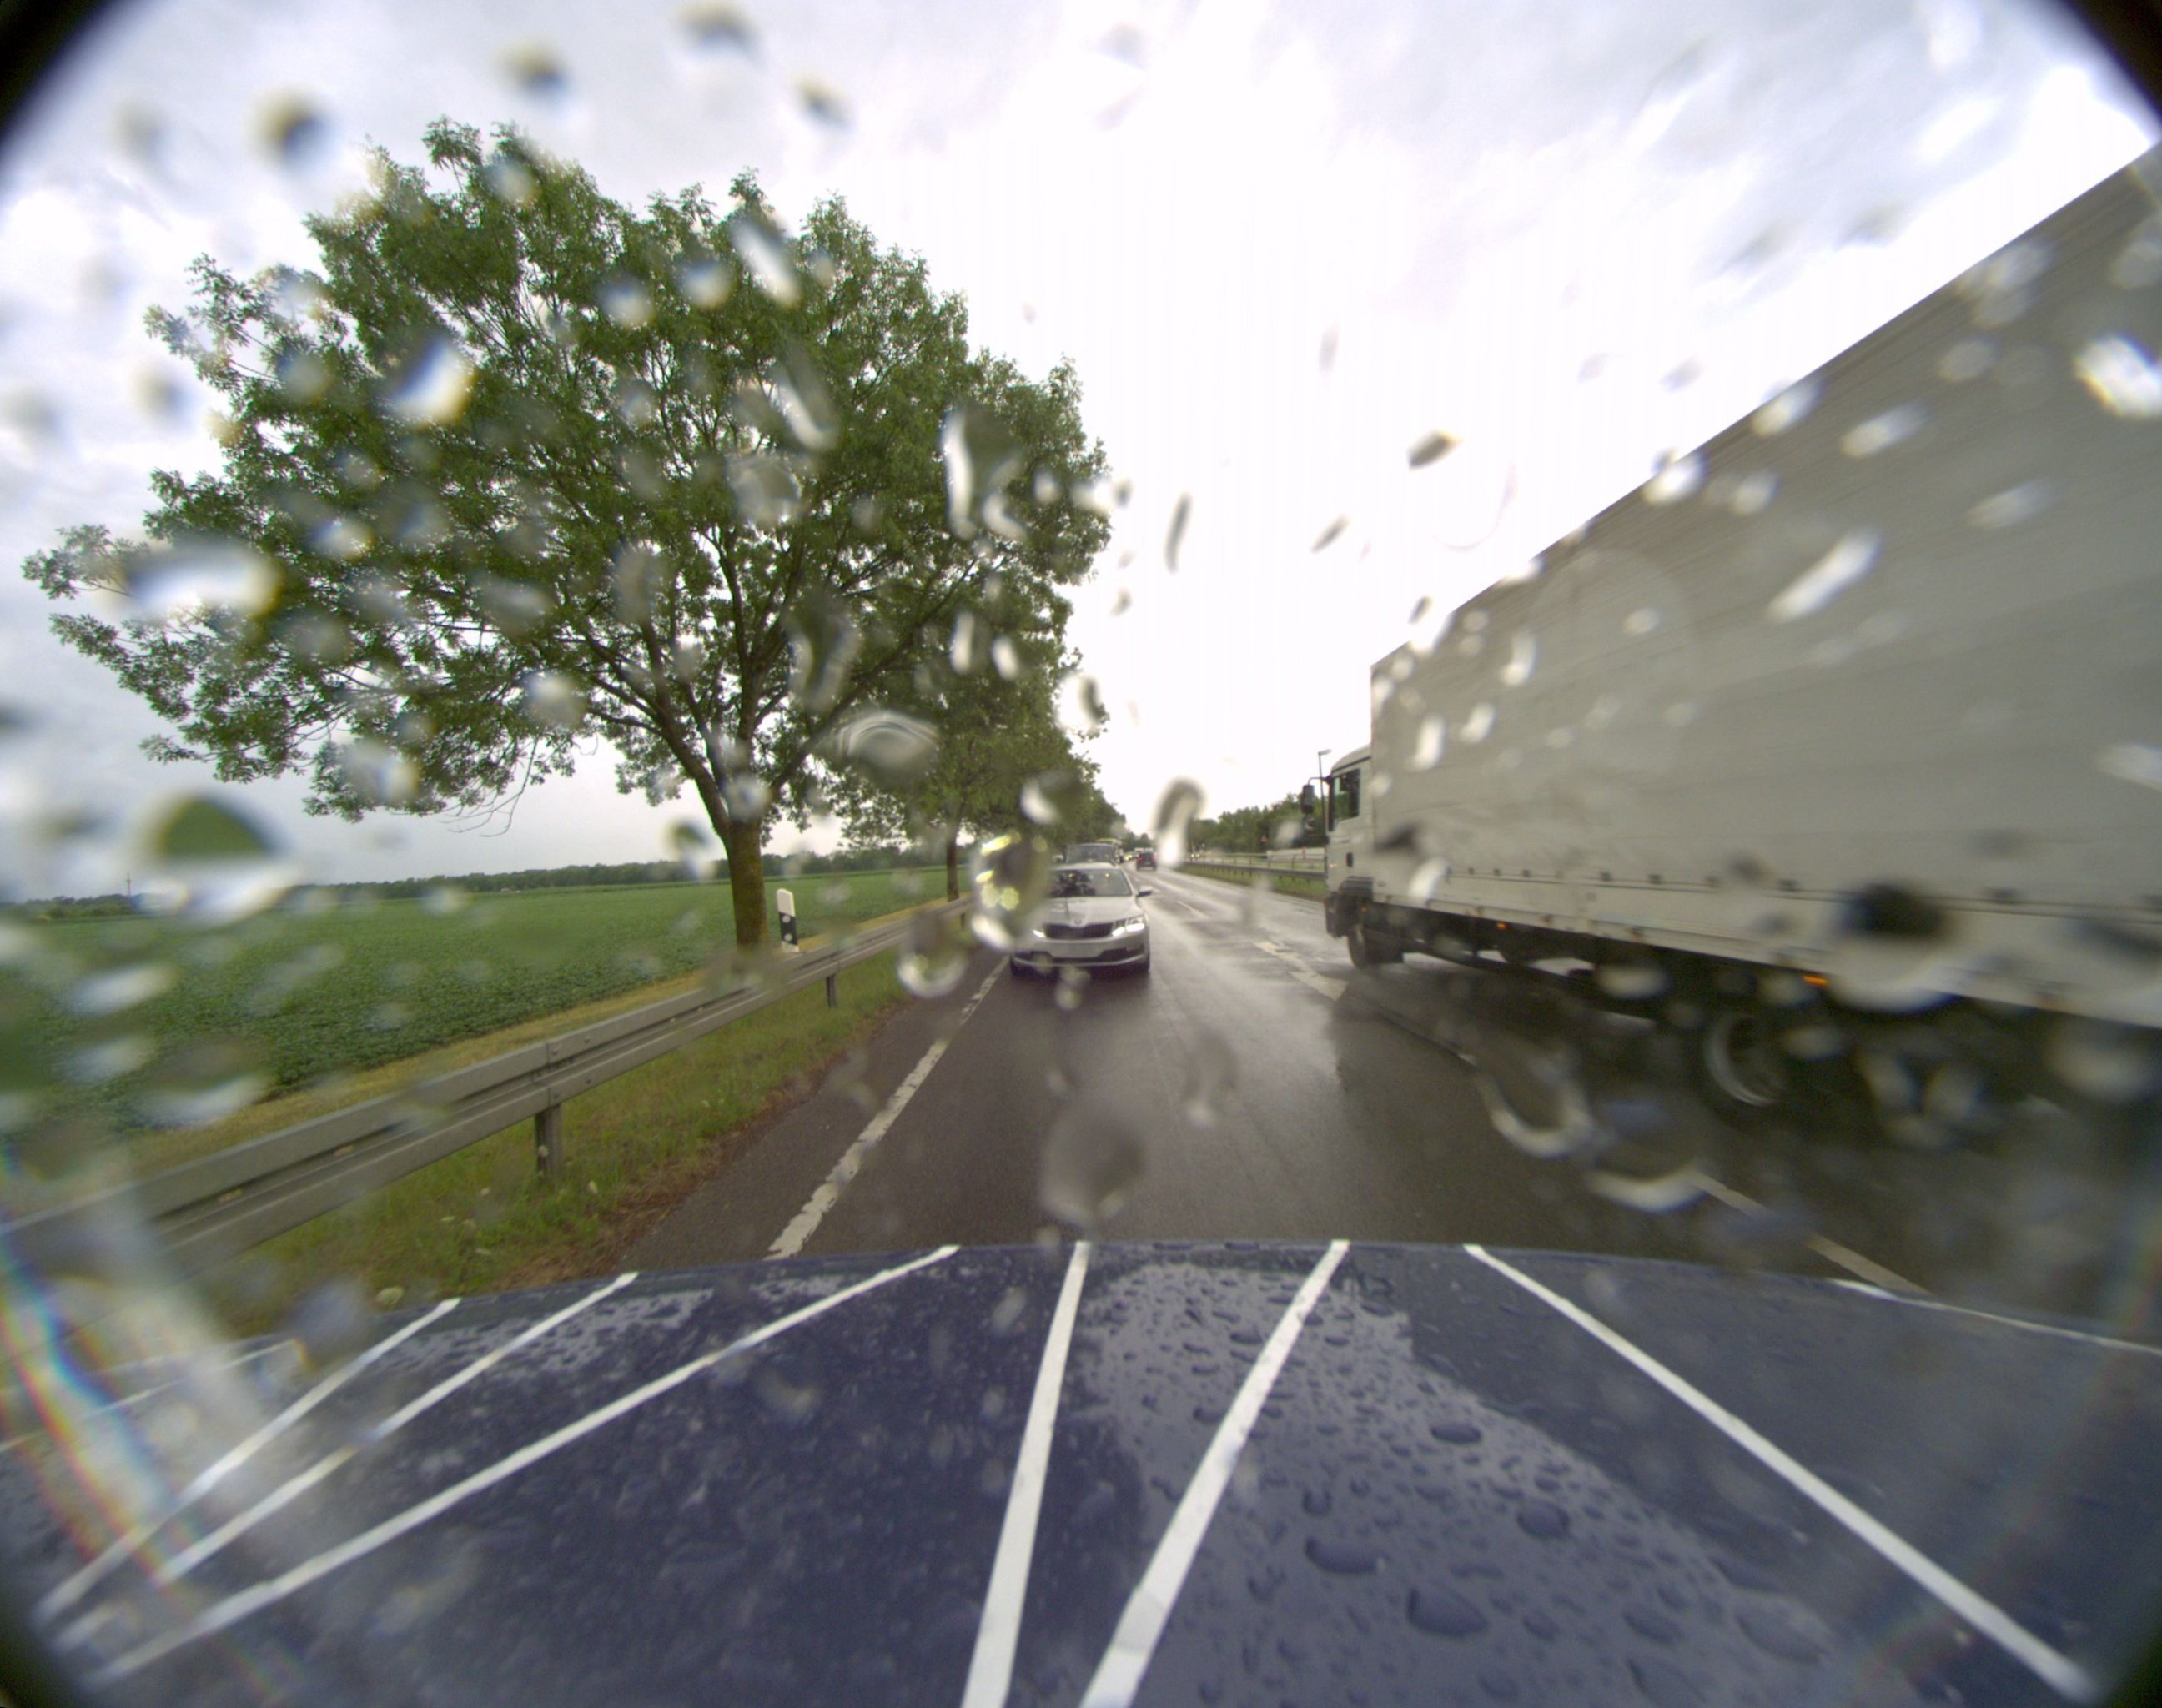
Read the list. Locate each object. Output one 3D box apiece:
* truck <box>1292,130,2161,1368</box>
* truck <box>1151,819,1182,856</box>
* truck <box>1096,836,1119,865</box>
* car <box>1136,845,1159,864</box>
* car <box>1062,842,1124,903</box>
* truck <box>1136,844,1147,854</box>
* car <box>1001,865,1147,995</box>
[{"bbox_3d":[4.262,-0.303,5.609,2.583,3.432,9.554,-2,0,-1],"label":"truck"},{"bbox_3d":[12.305,-2.325,109.899,3.257,5.004,7.783,-4,0,0],"label":"truck"},{"bbox_3d":[3.504,-0.494,100.452,2.751,3.547,8.387,-3,0,2],"label":"truck"},{"bbox_3d":[6.045,0.040,69.301,1.768,1.610,4.000,-2,0,0],"label":"car"},{"bbox_3d":[0.385,0.575,26.020,1.903,1.884,4.000,-1,0,0],"label":"car"},{"bbox_3d":[17.047,-1.377,215.447,2.800,2.461,7.169,-3,0,4],"label":"truck"},{"bbox_3d":[-0.070,0.932,11.037,1.705,1.438,4.000,-1,0,0],"label":"car"}]
